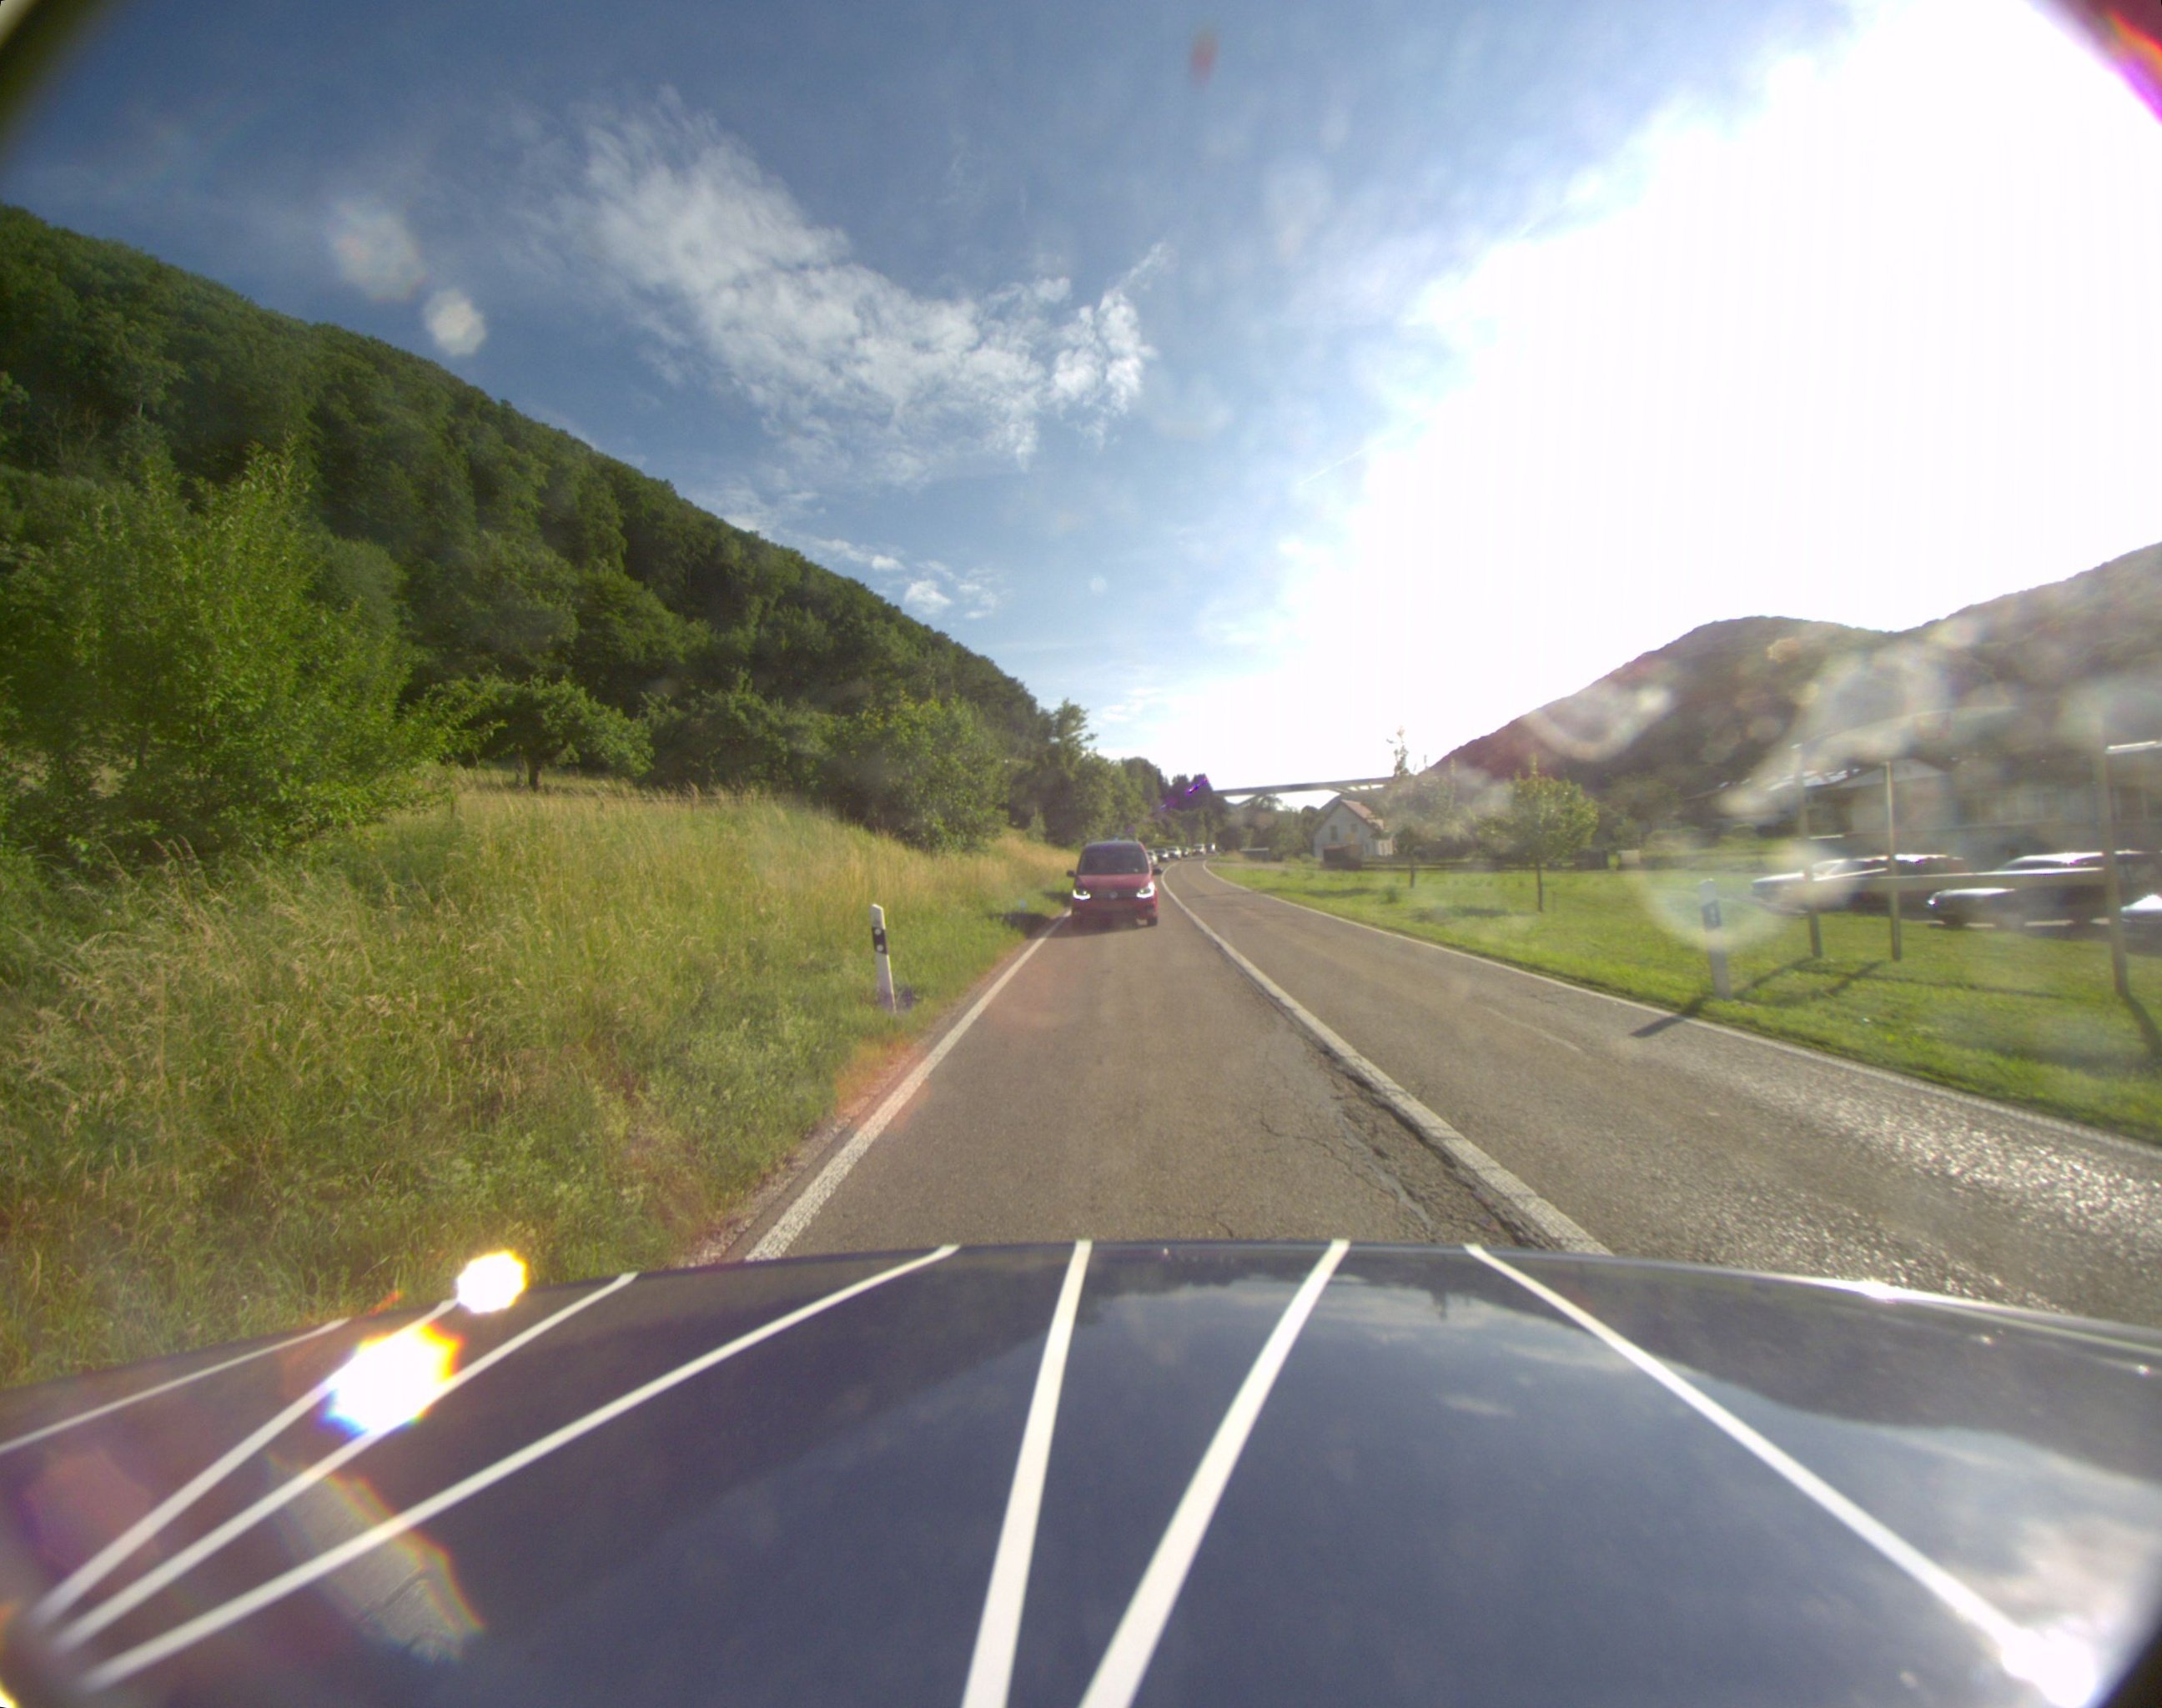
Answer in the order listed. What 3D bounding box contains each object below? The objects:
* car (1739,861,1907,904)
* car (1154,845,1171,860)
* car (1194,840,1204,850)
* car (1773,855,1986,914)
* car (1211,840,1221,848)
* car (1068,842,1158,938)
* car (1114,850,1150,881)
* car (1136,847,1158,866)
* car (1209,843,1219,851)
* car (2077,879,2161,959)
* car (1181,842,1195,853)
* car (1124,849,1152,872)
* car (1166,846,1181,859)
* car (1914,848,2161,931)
[{"bbox_3d":[26.390,1.010,27.190,3.892,1.361,1.854,-1,2,14],"label":"car"},{"bbox_3d":[8.700,-0.182,81.081,1.629,1.470,3.680,-2,1,5],"label":"car"},{"bbox_3d":[19.388,-1.472,124.984,1.629,1.470,3.681,-2,1,8],"label":"car"},{"bbox_3d":[25.367,0.966,24.337,4.327,1.659,1.850,-2,1,17],"label":"car"},{"bbox_3d":[26.747,-1.930,150.452,1.628,1.470,3.682,-2,1,12],"label":"car"},{"bbox_3d":[0.770,0.656,16.372,1.648,1.762,4.001,-2,1,5],"label":"car"},{"bbox_3d":[2.835,0.589,41.508,1.629,1.470,3.681,-2,1,9],"label":"car"},{"bbox_3d":[5.708,0.192,65.439,1.629,1.470,3.681,-2,1,9],"label":"car"},{"bbox_3d":[24.205,-1.278,138.095,1.628,1.470,3.682,-2,1,12],"label":"car"},{"bbox_3d":[22.316,1.180,14.412,4.014,1.443,1.686,-2,-1,11],"label":"car"},{"bbox_3d":[15.298,-0.931,108.495,1.628,1.470,3.682,-2,1,12],"label":"car"},{"bbox_3d":[3.997,0.431,52.877,1.629,1.470,3.681,-2,1,9],"label":"car"},{"bbox_3d":[11.327,-0.249,93.432,1.629,1.470,3.680,-2,1,5],"label":"car"},{"bbox_3d":[24.345,0.858,18.791,5.000,1.783,1.686,-2,1,11],"label":"car"}]
